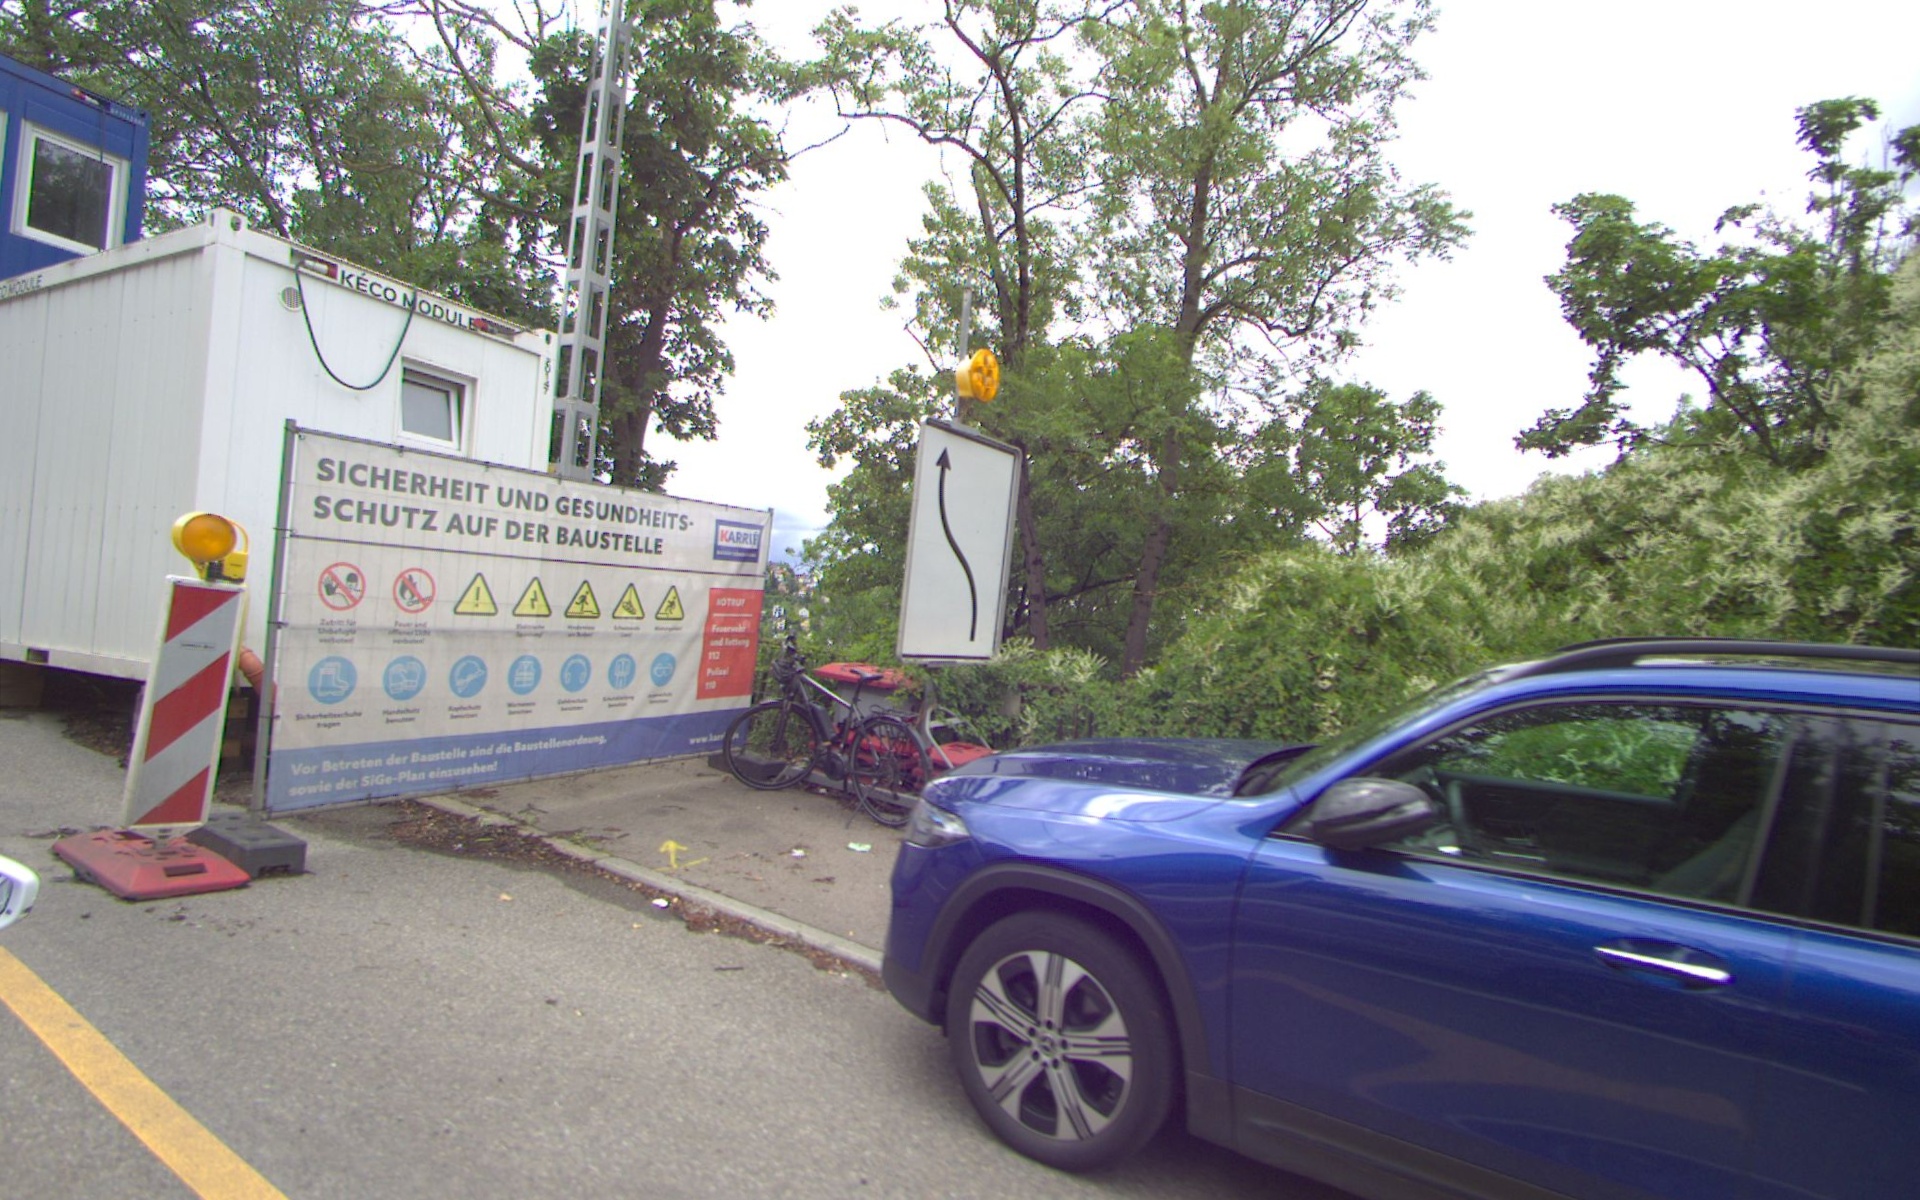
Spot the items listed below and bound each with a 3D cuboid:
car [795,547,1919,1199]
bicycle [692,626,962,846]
[{"bbox_3d":[1.884,0.899,2.872,4.428,1.664,1.840,6,2,31],"label":"car"},{"bbox_3d":[-0.917,0.834,6.658,1.770,1.122,0.498,7,3,31],"label":"bicycle"}]
